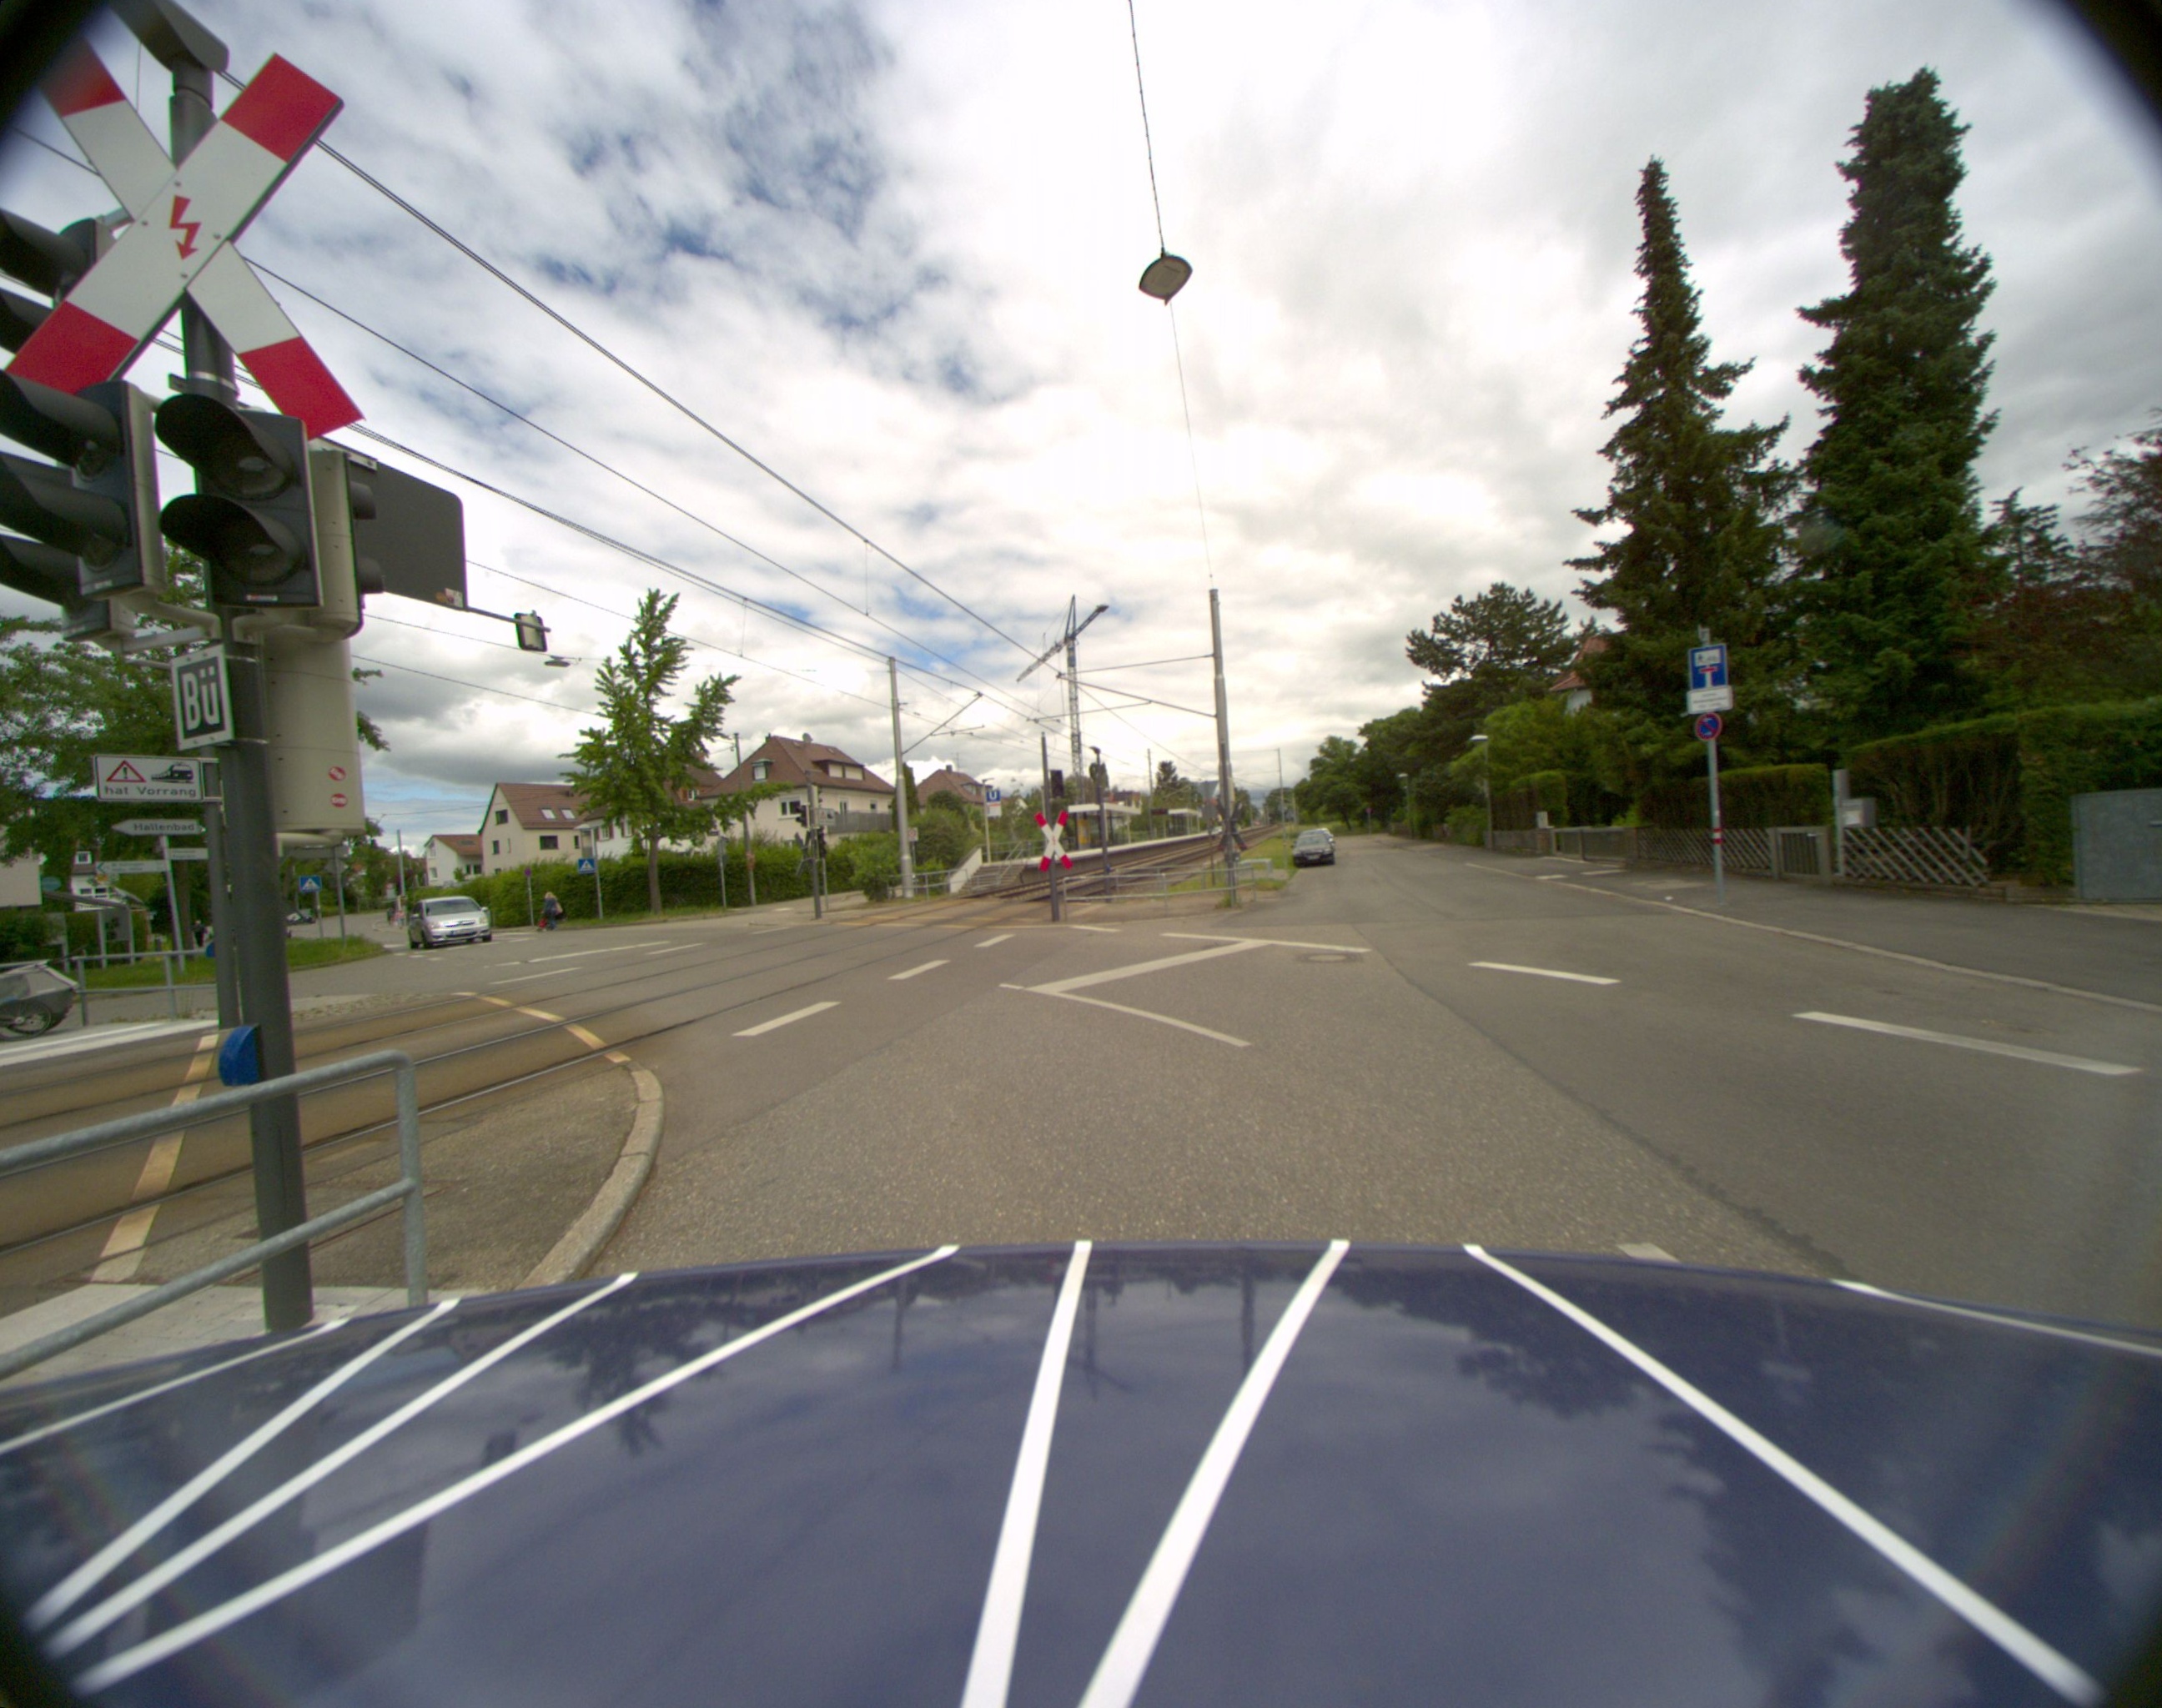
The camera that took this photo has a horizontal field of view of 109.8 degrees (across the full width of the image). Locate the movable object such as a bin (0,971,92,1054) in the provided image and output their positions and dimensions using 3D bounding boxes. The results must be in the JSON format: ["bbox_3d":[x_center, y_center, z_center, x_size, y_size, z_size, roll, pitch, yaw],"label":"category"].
[{"bbox_3d":[-12.526,1.878,8.893,0.578,0.820,1.096,-4,1,36],"label":"movable object such as a bin"}]

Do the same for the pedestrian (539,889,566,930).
[{"bbox_3d":[-22.223,2.305,31.947,0.599,1.611,0.676,-7,3,-19],"label":"pedestrian"}]

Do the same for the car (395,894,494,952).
[{"bbox_3d":[-20.725,2.213,24.678,3.917,1.559,1.730,-4,1,40],"label":"car"}]

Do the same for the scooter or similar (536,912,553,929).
[{"bbox_3d":[-22.859,2.821,32.371,0.400,0.606,0.488,-7,3,-19],"label":"scooter or similar"}]

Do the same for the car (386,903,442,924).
[{"bbox_3d":[-67.574,6.013,77.018,1.880,1.718,4.007,-4,0,43],"label":"car"}]

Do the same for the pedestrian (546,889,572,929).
[{"bbox_3d":[-22.454,2.343,32.699,0.599,1.611,0.676,-7,3,-19],"label":"pedestrian"}]

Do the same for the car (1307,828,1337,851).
[{"bbox_3d":[16.632,-1.034,52.444,1.851,1.368,4.004,-4,1,18],"label":"car"}]

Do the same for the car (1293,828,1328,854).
[{"bbox_3d":[14.180,-0.815,46.875,1.851,1.368,4.004,-4,1,18],"label":"car"}]

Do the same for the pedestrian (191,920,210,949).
[{"bbox_3d":[-53.937,4.925,46.557,0.658,1.659,0.679,-4,0,40],"label":"pedestrian"}]

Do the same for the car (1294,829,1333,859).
[{"bbox_3d":[12.913,-0.590,42.183,1.851,1.472,4.004,-4,1,18],"label":"car"}]

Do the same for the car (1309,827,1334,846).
[{"bbox_3d":[19.909,-1.490,62.909,1.851,1.368,4.004,-4,1,18],"label":"car"}]

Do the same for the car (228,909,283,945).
[{"bbox_3d":[-54.243,4.790,49.872,5.553,2.002,2.003,-4,2,40],"label":"car"}]

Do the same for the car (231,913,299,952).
[{"bbox_3d":[-41.201,3.927,38.345,4.454,1.627,1.856,-4,1,38],"label":"car"}]

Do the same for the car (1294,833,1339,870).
[{"bbox_3d":[11.134,-0.152,36.133,1.819,1.493,4.123,-5,1,15],"label":"car"}]
